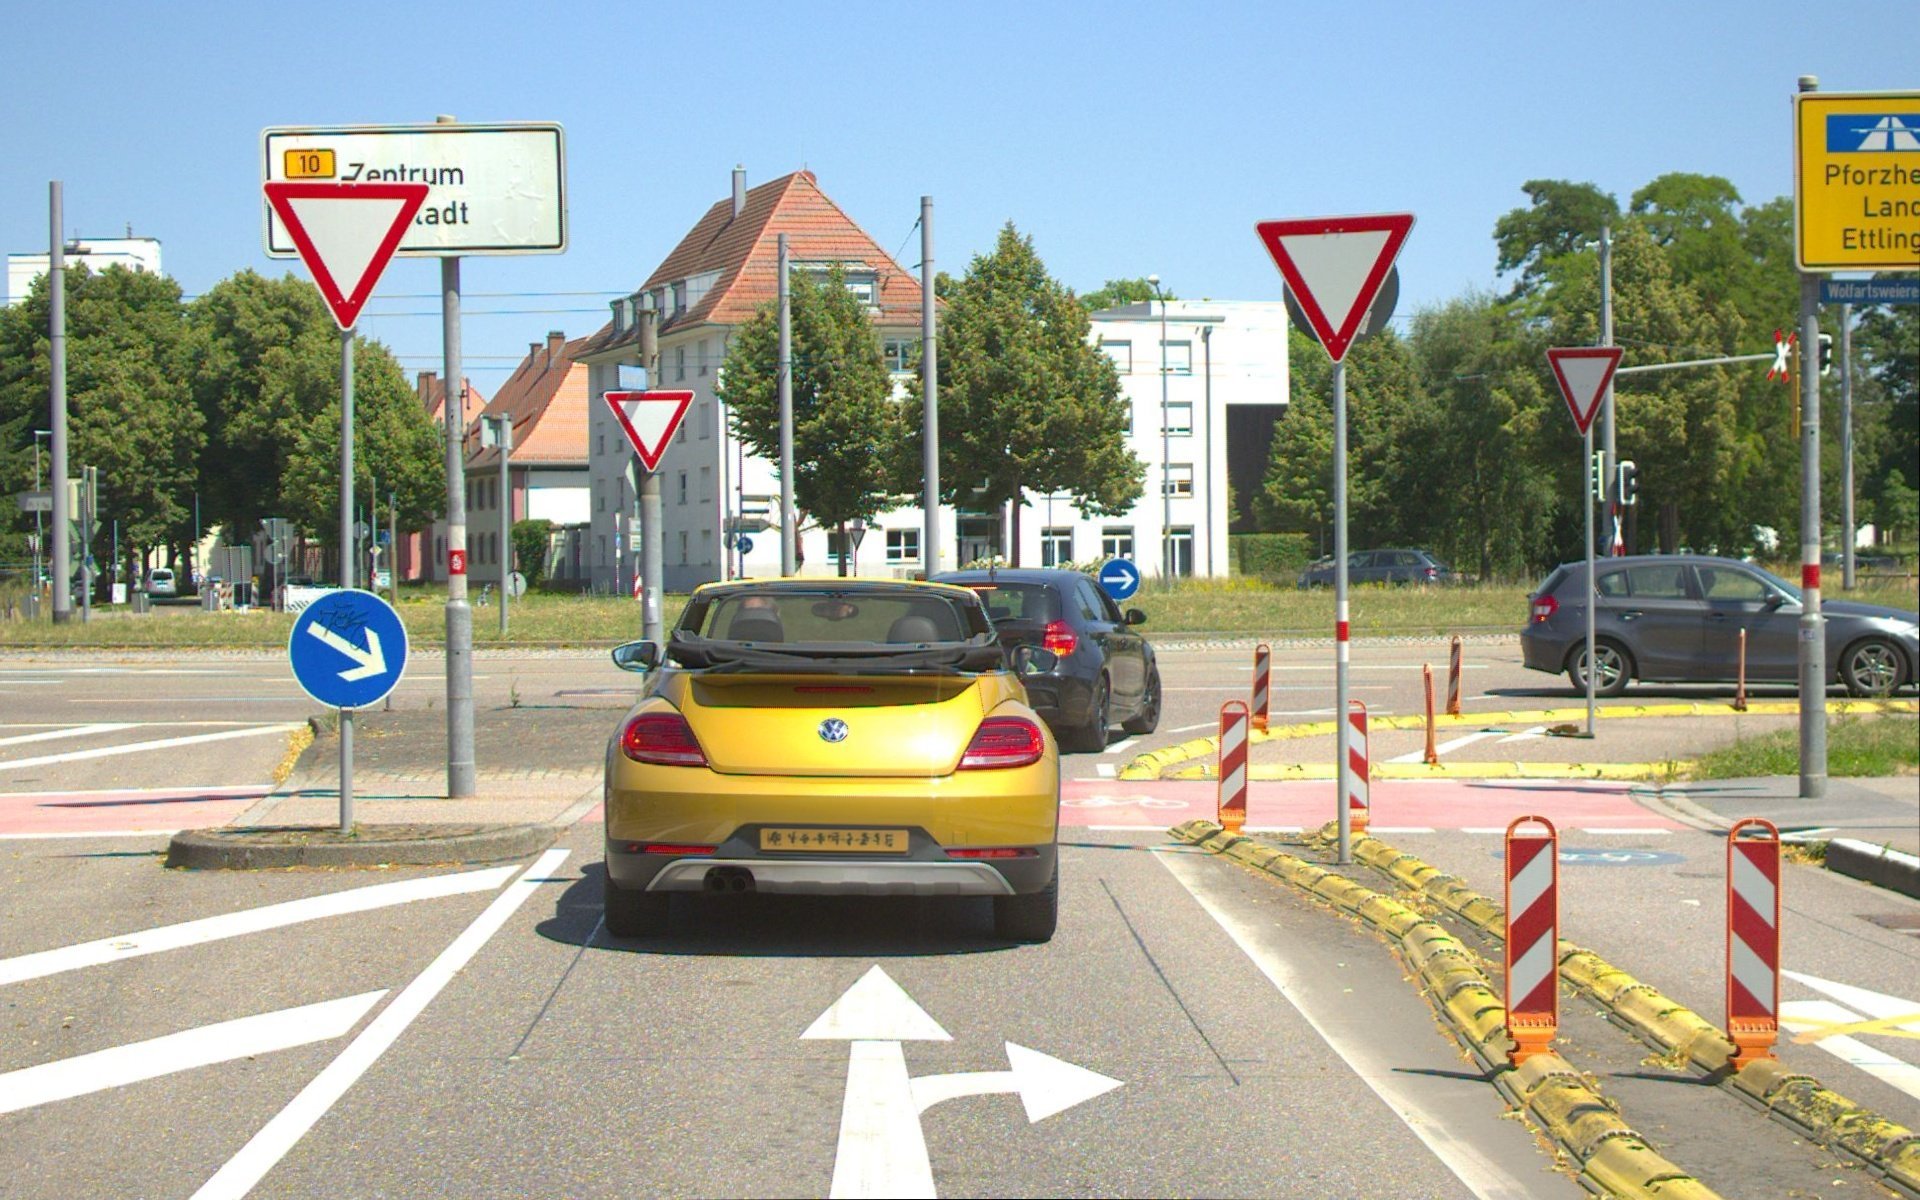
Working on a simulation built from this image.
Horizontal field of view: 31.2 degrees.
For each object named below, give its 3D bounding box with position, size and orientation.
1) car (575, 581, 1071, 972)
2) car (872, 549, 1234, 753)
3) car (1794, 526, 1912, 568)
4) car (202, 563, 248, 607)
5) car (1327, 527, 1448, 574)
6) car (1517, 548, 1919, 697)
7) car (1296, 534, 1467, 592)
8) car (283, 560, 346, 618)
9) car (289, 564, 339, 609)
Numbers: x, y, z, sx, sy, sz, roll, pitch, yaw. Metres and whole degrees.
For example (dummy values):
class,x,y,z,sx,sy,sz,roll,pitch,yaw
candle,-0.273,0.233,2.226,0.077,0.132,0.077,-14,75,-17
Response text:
class,x,y,z,sx,sy,sz,roll,pitch,yaw
car,-0.529,0.644,14.552,1.825,1.398,3.662,0,1,-1
car,0.828,0.347,27.485,1.798,1.435,3.997,0,2,19
car,34.973,-2.081,134.638,3.995,1.568,1.996,1,0,36
car,-34.669,-0.711,162.079,1.993,2.007,4.001,1,0,-13
car,15.851,-1.836,127.507,3.986,1.678,2.001,1,0,-13
car,7.708,0.215,34.653,4.069,1.398,1.752,-1,2,11
car,11.046,-0.967,90.072,3.993,1.459,1.997,1,0,26
car,-22.875,-0.405,121.765,1.993,2.007,4.001,1,0,-13
car,-29.186,-0.616,155.204,1.993,2.007,4.001,1,0,-13
